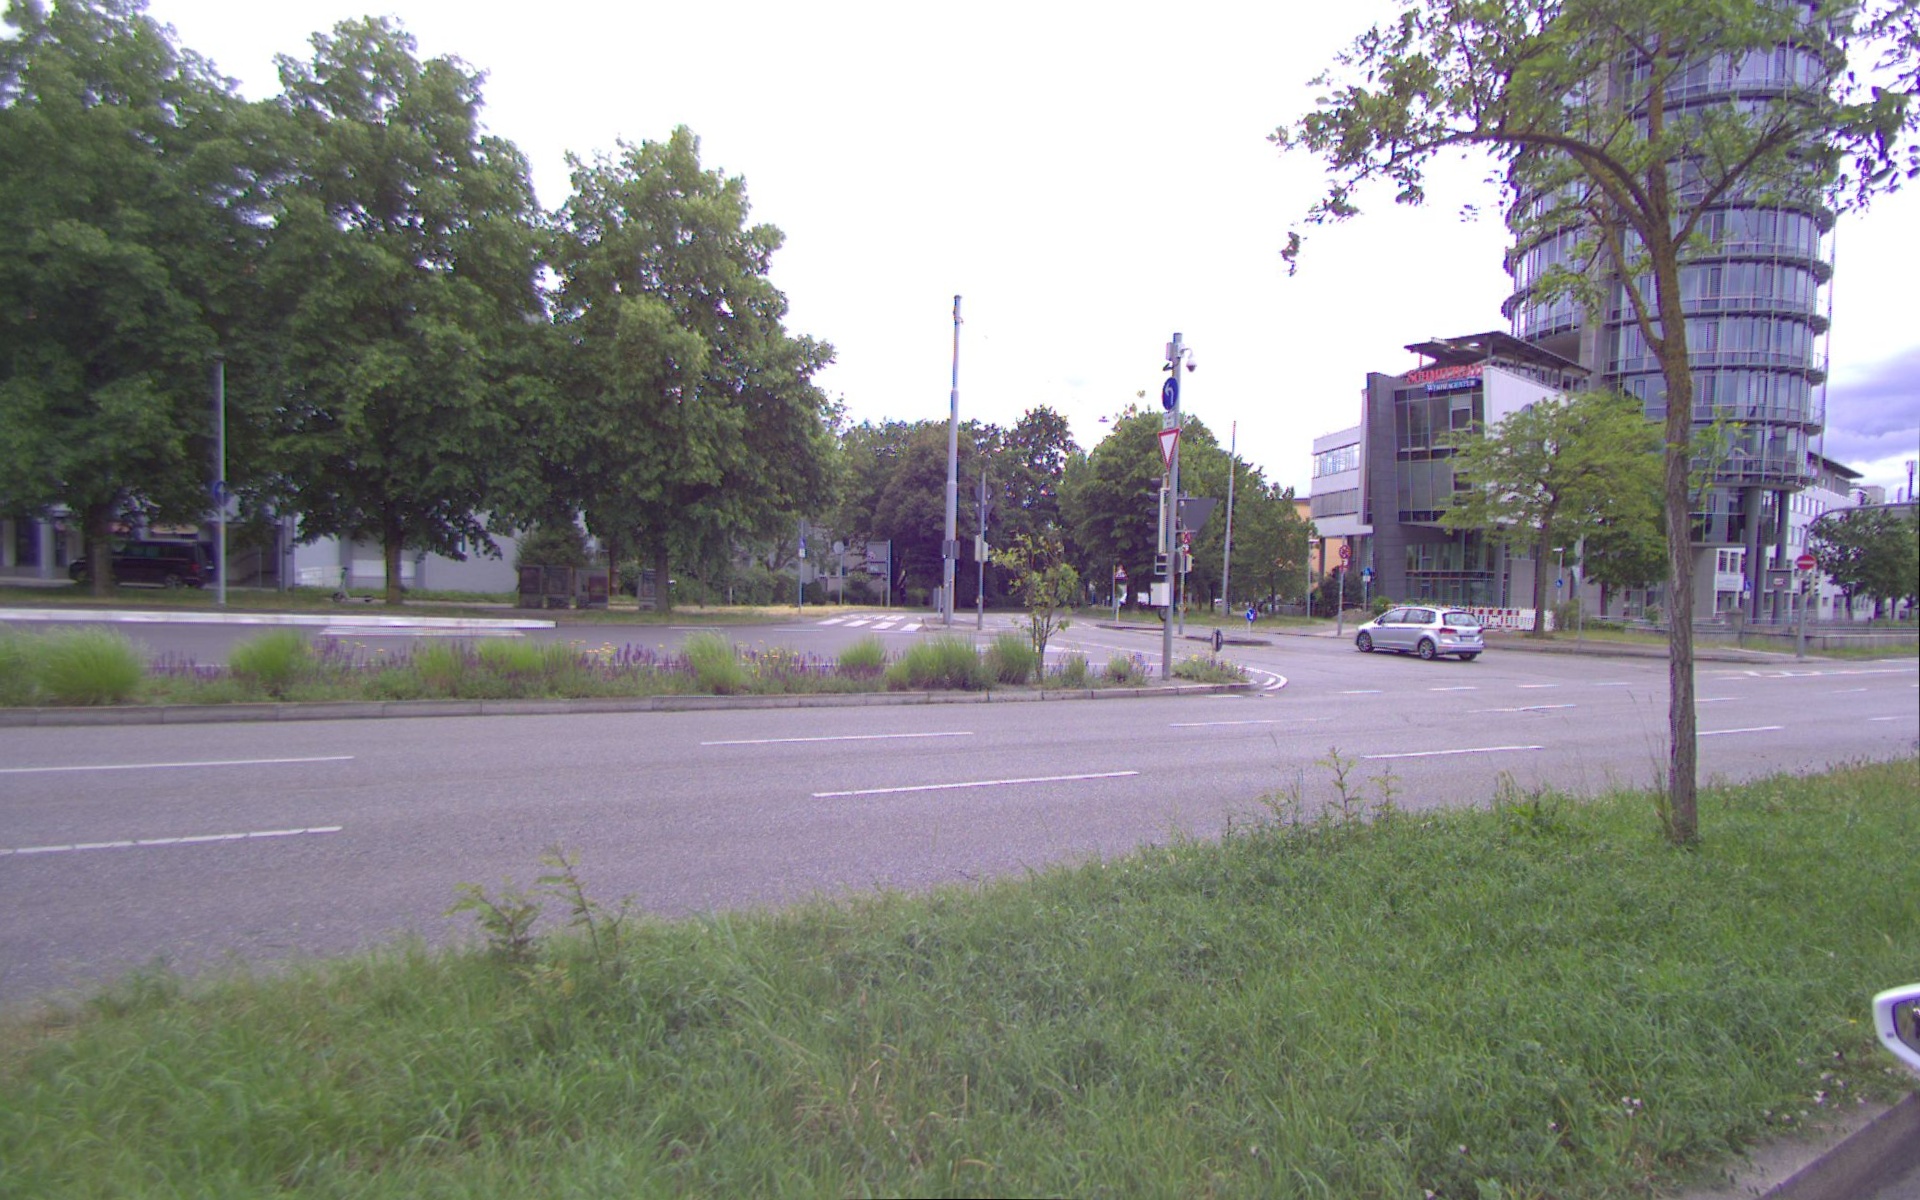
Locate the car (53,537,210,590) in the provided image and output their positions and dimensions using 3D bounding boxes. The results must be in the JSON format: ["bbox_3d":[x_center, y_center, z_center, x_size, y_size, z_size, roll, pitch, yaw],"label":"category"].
[{"bbox_3d":[-32.442,-1.401,39.465,4.344,1.872,1.782,2,1,-15],"label":"car"}]

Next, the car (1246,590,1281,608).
[{"bbox_3d":[16.083,-0.057,53.267,1.684,0.888,0.776,2,1,8],"label":"car"}]

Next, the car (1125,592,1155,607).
[{"bbox_3d":[30.327,-0.069,169.233,4.474,2.370,1.994,2,0,-15],"label":"car"}]

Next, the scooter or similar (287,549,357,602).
[{"bbox_3d":[-21.082,-0.795,33.216,1.834,1.686,0.645,1,1,-42],"label":"scooter or similar"}]

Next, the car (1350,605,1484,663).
[{"bbox_3d":[14.149,1.012,31.354,1.529,1.590,3.986,2,1,-16],"label":"car"}]
